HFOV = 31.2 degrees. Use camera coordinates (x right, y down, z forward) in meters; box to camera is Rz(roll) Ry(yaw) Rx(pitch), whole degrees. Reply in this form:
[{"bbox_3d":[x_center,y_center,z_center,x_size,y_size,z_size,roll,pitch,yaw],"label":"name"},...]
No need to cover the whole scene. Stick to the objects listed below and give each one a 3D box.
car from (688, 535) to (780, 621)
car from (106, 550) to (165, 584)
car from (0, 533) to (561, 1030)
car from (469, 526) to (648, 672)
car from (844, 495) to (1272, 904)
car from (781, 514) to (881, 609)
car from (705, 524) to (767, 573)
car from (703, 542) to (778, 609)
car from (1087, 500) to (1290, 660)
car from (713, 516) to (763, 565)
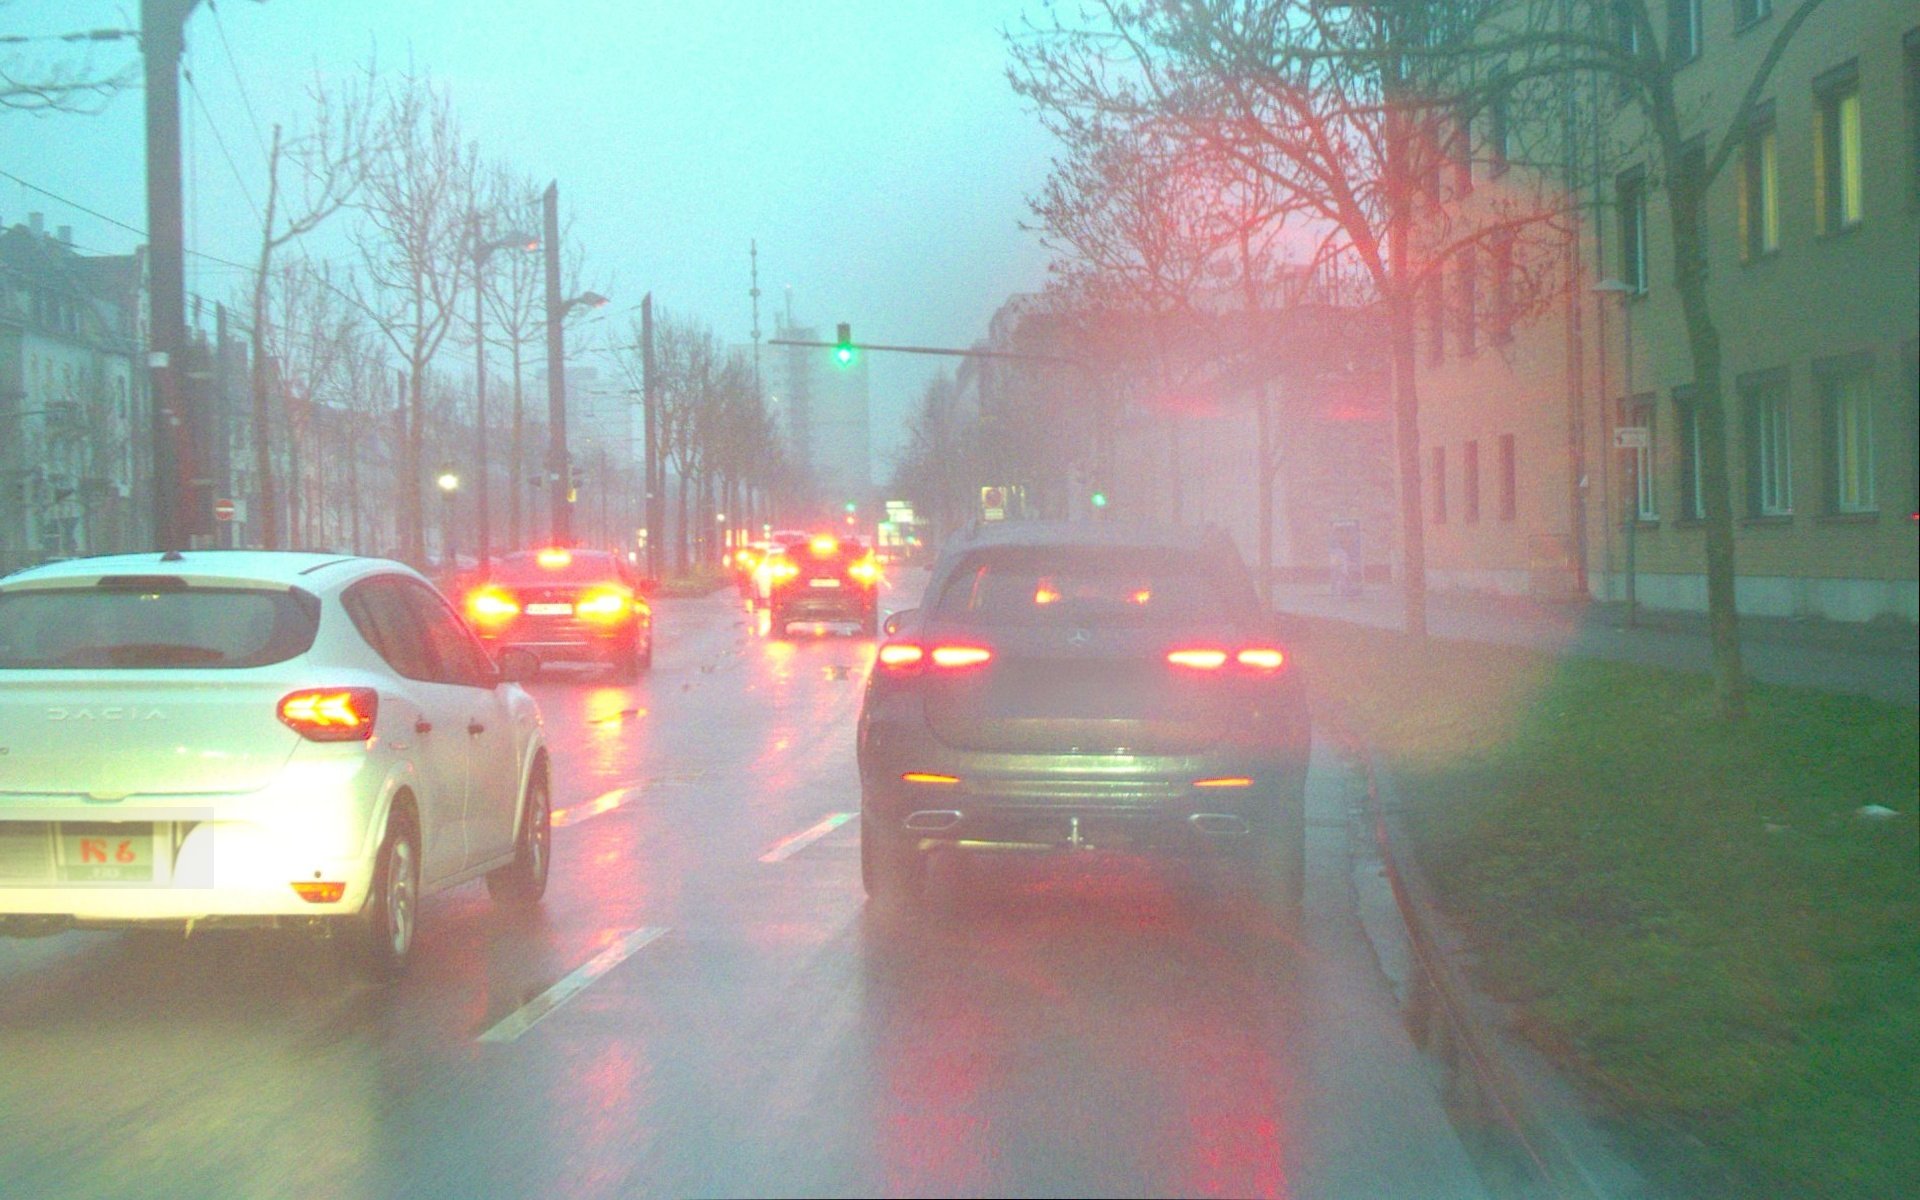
[{"bbox_3d":[-5.565,-0.575,85.090,1.993,2.007,4.000,-2,1,-1],"label":"car"},{"bbox_3d":[-35.375,-1.410,147.627,1.776,1.349,3.557,-2,2,-2],"label":"car"},{"bbox_3d":[-2.552,0.550,13.088,1.672,1.594,4.054,0,1,-1],"label":"car"},{"bbox_3d":[-4.593,-0.043,39.783,1.672,1.594,4.054,0,1,-1],"label":"car"},{"bbox_3d":[0.340,0.354,15.490,1.672,1.594,4.054,0,1,-1],"label":"car"},{"bbox_3d":[-2.220,-0.689,59.977,1.672,1.594,4.054,0,1,-1],"label":"car"},{"bbox_3d":[-8.153,-1.876,125.316,1.993,1.711,4.000,-2,1,-1],"label":"car"},{"bbox_3d":[-6.375,-0.732,100.209,1.941,1.831,4.000,-2,1,-1],"label":"car"},{"bbox_3d":[2.625,-0.259,40.332,1.993,1.738,4.000,-1,1,-1],"label":"car"},{"bbox_3d":[-9.320,-2.512,144.415,1.816,2.007,4.000,-2,1,-1],"label":"car"}]
